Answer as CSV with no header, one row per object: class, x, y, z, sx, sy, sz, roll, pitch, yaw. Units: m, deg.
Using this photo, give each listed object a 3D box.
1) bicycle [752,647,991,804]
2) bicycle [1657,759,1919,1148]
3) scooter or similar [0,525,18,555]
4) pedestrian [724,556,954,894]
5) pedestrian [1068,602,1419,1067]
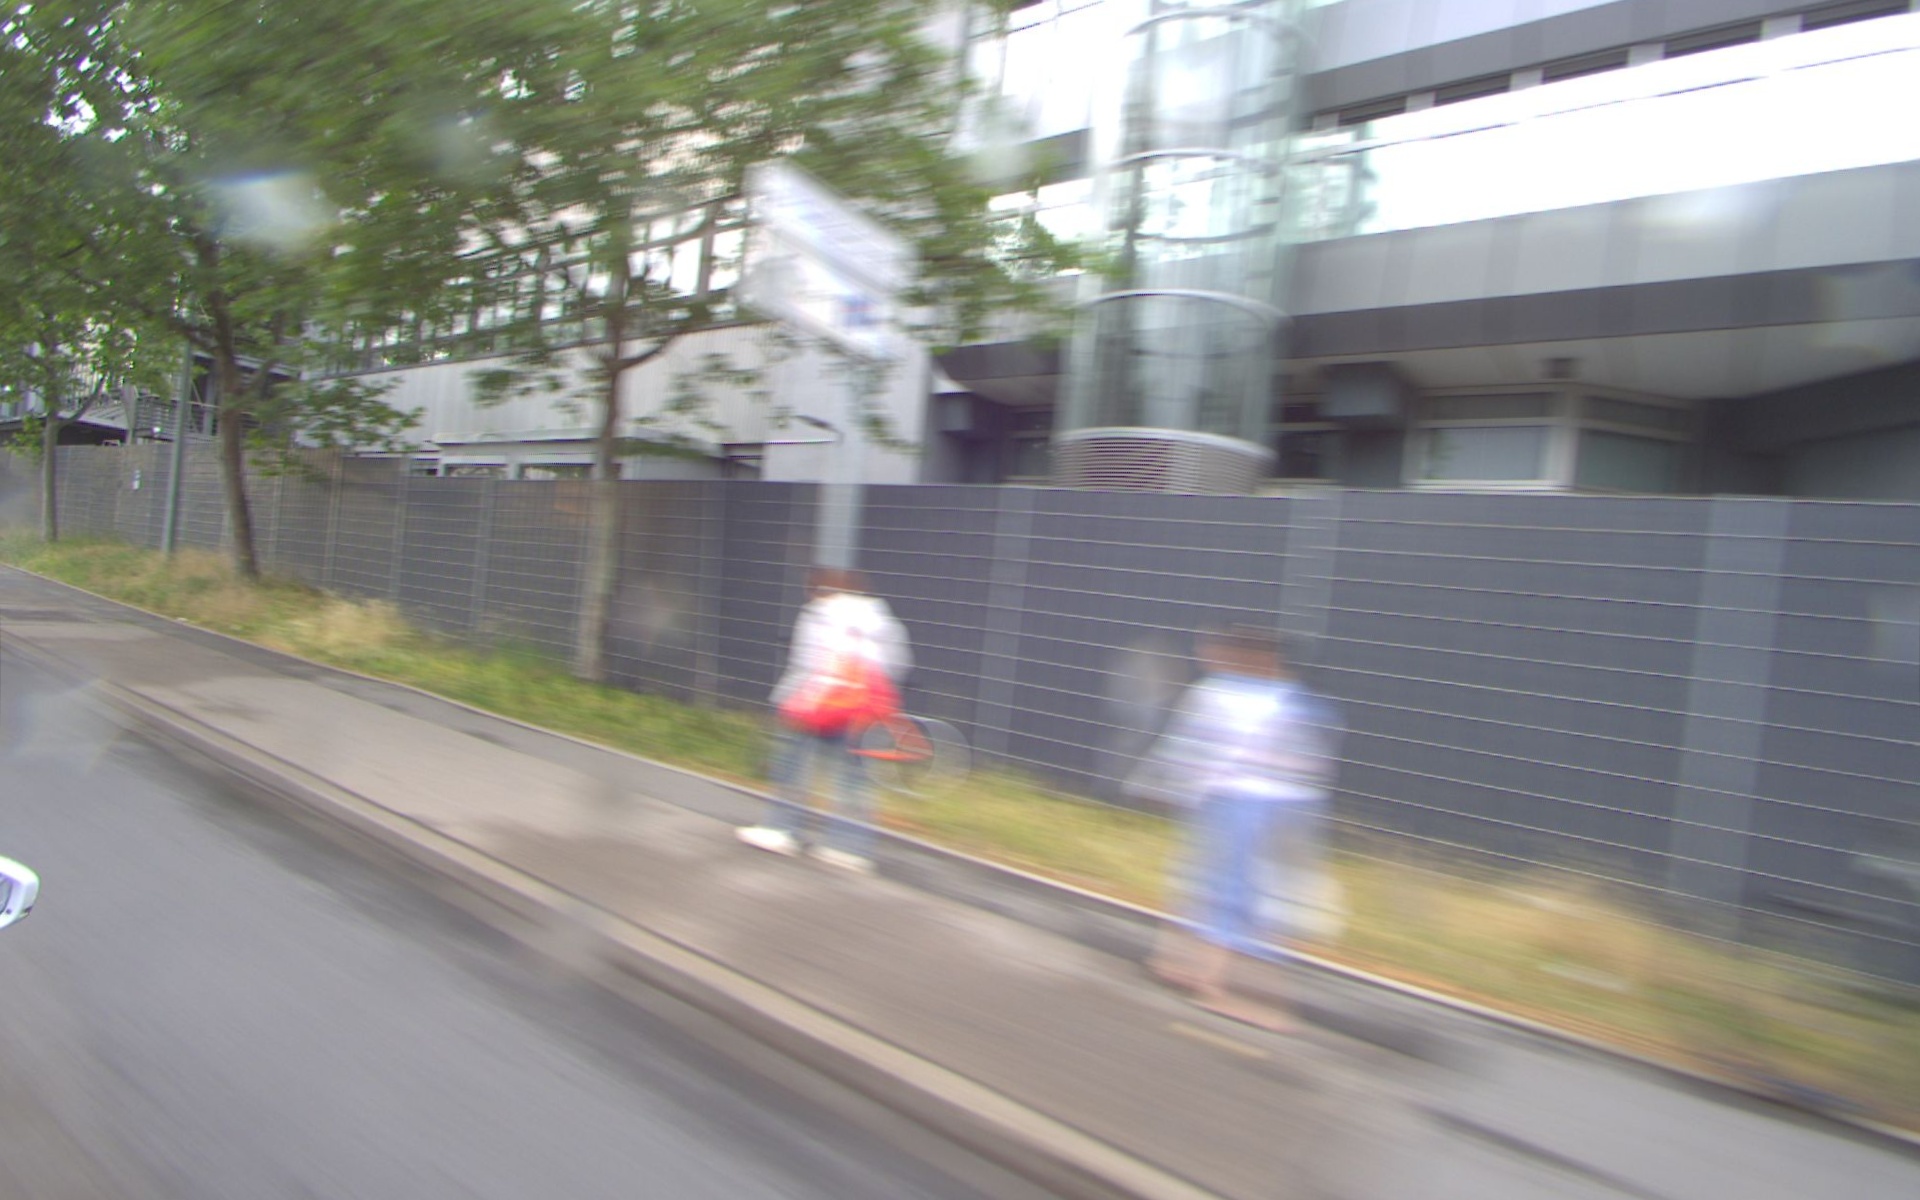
bicycle,-0.661,0.947,7.698,1.671,0.965,0.513,7,0,-4
bicycle,3.517,1.259,3.263,1.940,1.132,0.342,6,1,31
scooter or similar,-25.300,-1.623,25.911,1.495,0.722,0.655,7,1,5
pedestrian,-0.656,0.629,5.432,0.829,1.612,0.708,7,1,41
pedestrian,1.060,0.832,3.909,0.823,1.539,0.837,6,1,-22
